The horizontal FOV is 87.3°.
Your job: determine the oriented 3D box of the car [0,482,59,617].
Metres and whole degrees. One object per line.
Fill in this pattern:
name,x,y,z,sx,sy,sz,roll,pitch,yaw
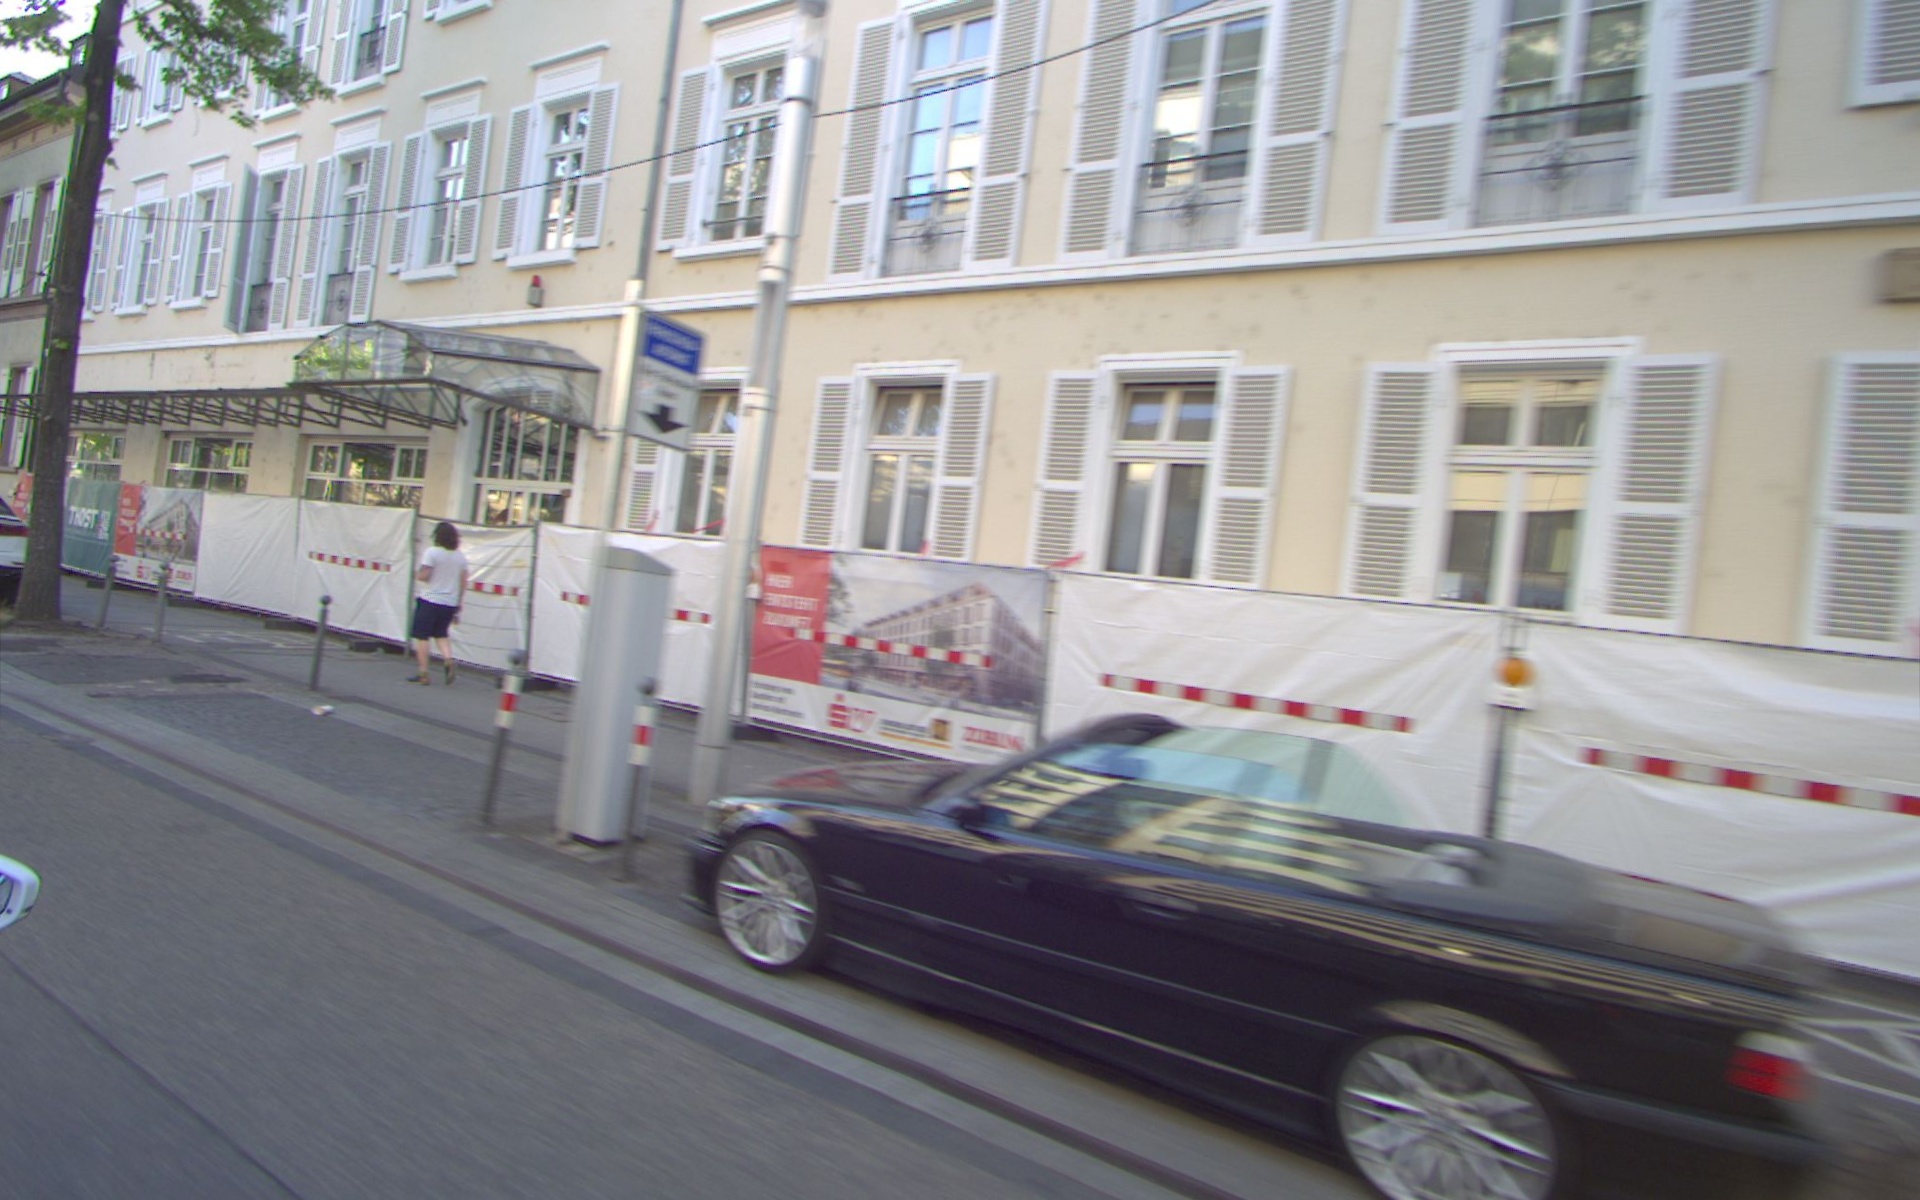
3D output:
car,-14.723,-0.904,13.747,4.882,1.709,2.001,6,0,29

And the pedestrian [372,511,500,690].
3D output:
pedestrian,-6.025,0.008,11.578,1.035,1.910,0.713,7,1,32

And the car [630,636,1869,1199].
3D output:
car,0.785,1.082,4.332,4.258,1.328,1.796,6,0,32
